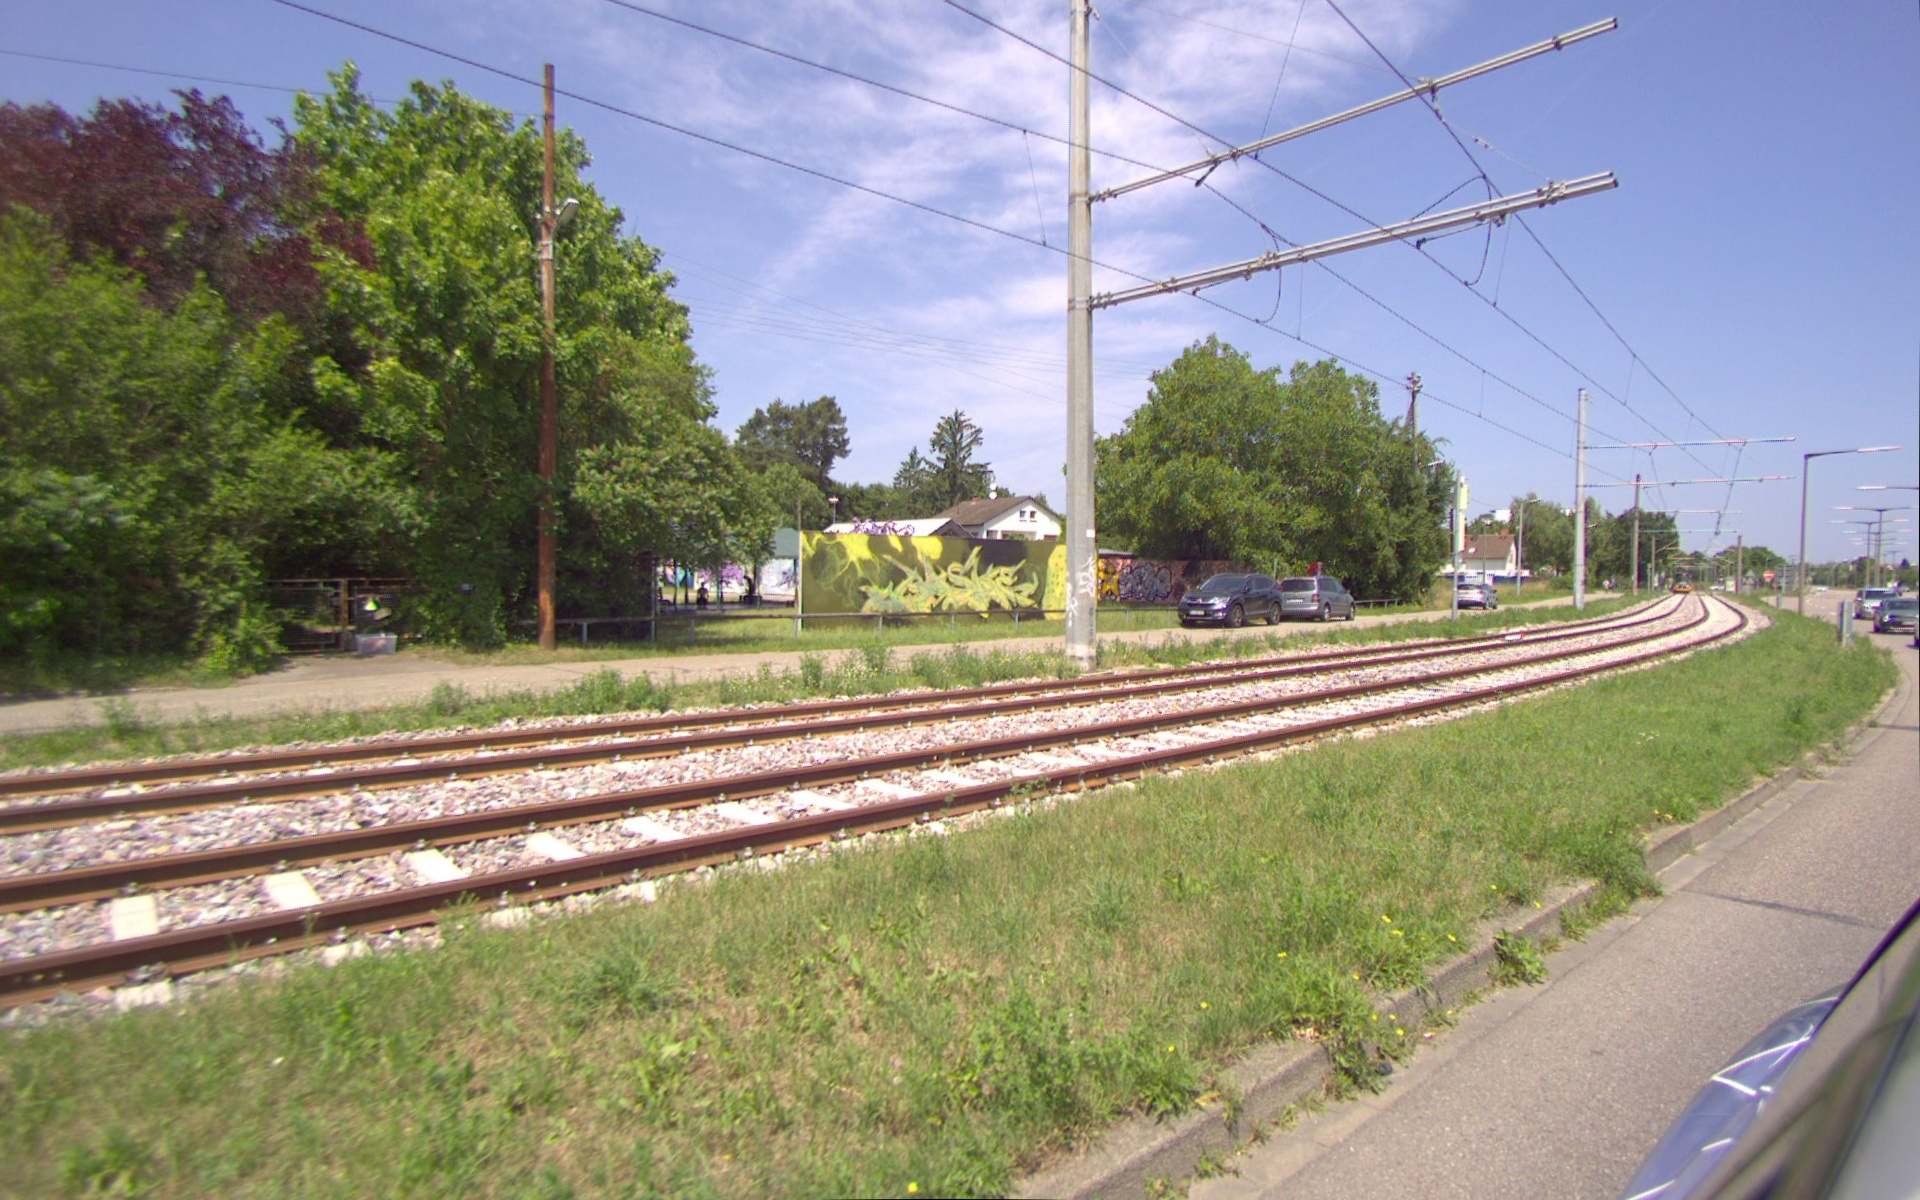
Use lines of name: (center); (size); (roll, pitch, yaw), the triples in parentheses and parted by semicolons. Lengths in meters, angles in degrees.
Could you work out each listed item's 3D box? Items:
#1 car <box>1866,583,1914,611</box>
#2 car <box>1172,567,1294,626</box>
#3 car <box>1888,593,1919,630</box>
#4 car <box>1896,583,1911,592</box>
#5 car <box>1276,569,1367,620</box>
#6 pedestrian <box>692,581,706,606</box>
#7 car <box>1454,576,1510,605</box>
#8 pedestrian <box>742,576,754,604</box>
car: (55.261, -0.227, 60.161); (1.801, 1.492, 3.465); (1, 3, 38)
car: (8.796, -0.190, 32.359); (1.827, 1.677, 4.744); (2, 3, 42)
car: (41.557, 0.495, 44.066); (1.504, 1.449, 3.311); (1, 3, 39)
car: (164.197, -2.195, 176.065); (1.611, 1.411, 3.552); (1, 3, 38)
car: (13.148, -0.257, 36.638); (1.674, 1.644, 4.646); (1, 3, 39)
pedestrian: (-12.514, -0.322, 48.456); (0.427, 1.194, 0.477); (1, 2, 38)
car: (27.939, -0.544, 54.107); (1.678, 1.431, 4.485); (1, 3, 40)
pedestrian: (-10.844, -0.497, 51.803); (0.421, 1.401, 0.484); (-2, 2, -33)
